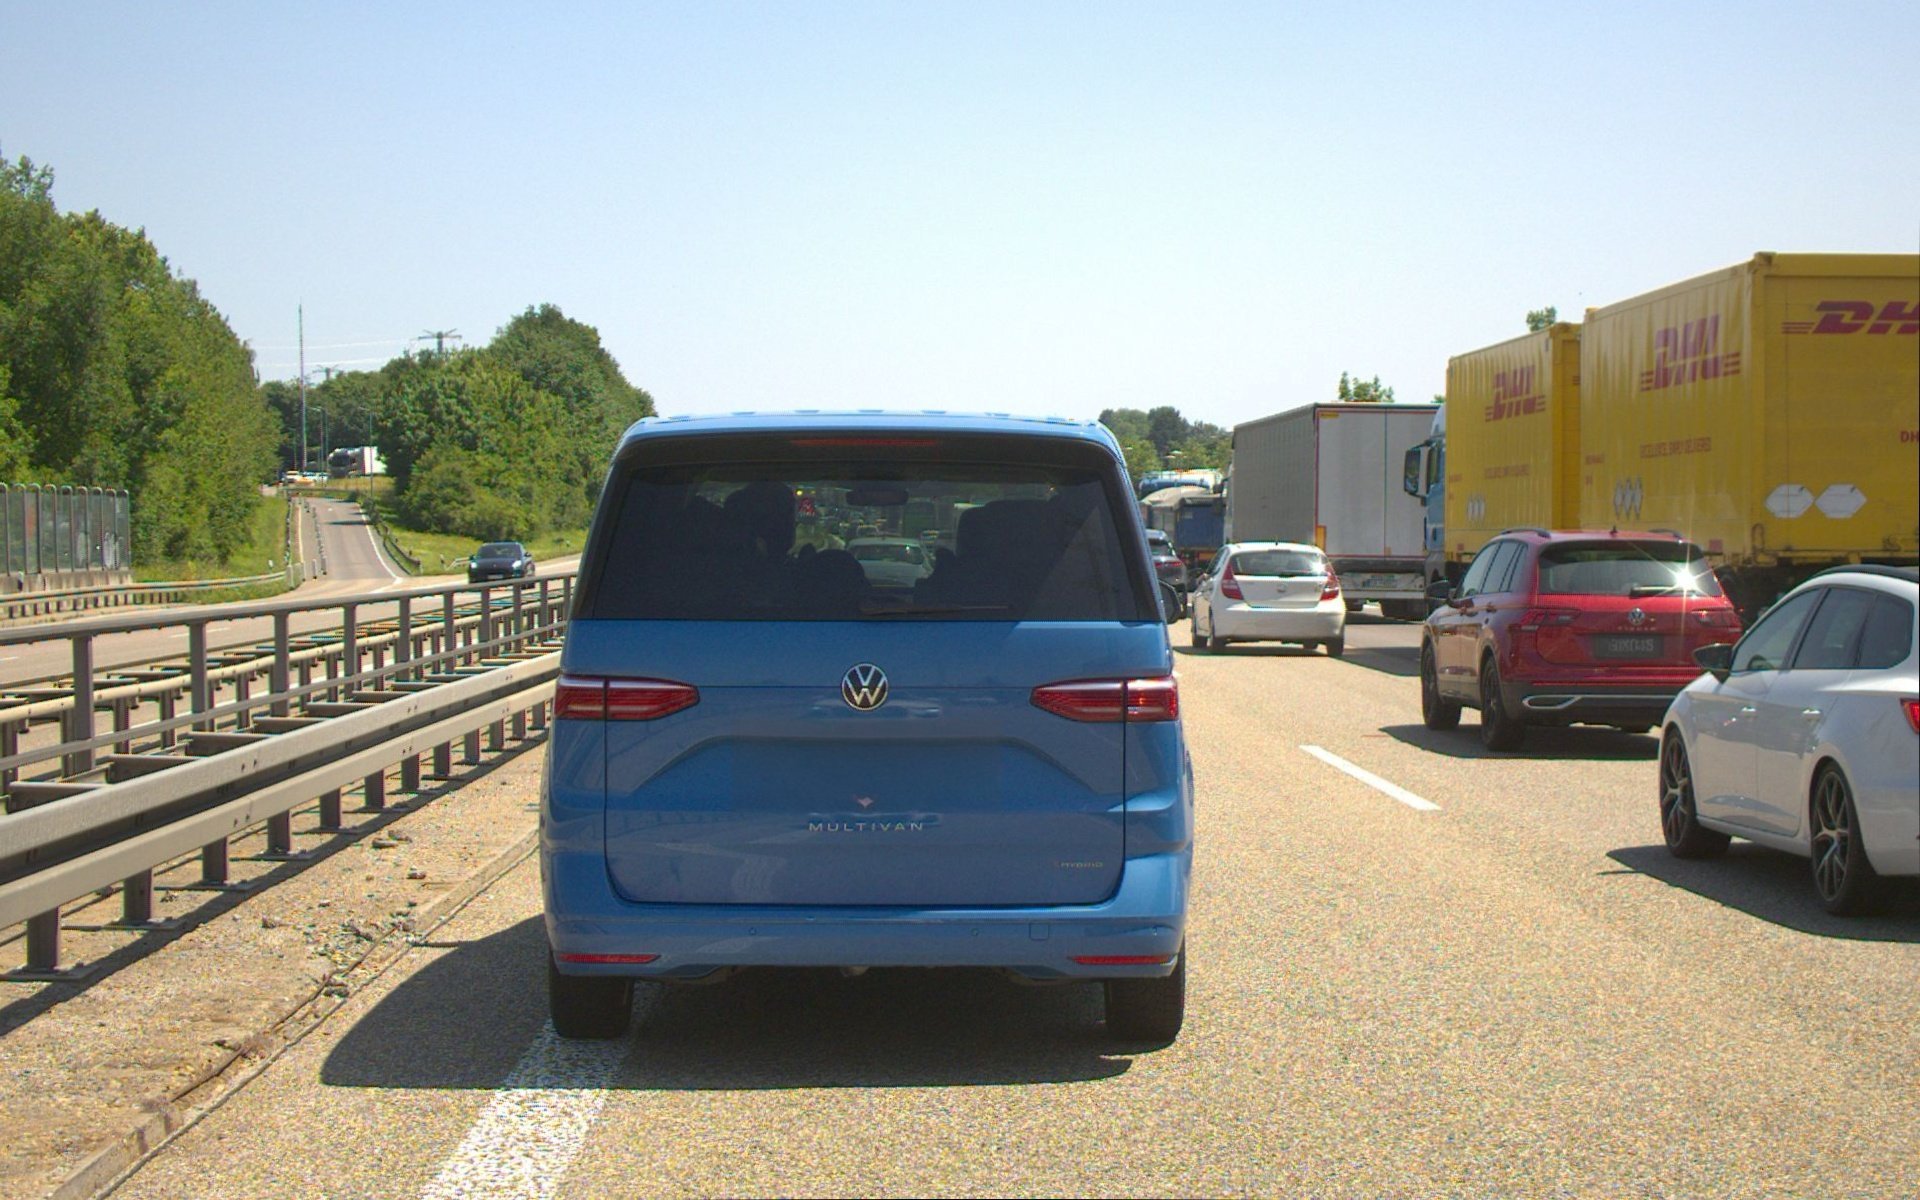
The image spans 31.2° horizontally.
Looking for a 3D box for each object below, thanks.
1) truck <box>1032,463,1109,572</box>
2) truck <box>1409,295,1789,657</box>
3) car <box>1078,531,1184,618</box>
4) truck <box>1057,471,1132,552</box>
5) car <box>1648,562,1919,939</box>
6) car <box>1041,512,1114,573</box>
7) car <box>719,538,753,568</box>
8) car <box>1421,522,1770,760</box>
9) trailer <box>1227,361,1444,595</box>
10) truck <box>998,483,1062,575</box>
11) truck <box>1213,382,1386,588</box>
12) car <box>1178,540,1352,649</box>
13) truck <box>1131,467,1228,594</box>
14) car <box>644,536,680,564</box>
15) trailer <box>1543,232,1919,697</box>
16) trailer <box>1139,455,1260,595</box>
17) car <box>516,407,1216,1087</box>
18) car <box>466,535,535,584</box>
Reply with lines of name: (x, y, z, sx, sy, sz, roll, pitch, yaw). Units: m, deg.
truck: (5.219, -3.862, 164.816, 2.833, 5.023, 11.147, 1, 0, -2)
truck: (7.892, -1.439, 43.992, 2.722, 4.041, 10.337, 1, 0, -1)
car: (3.243, -0.513, 65.745, 1.715, 1.581, 3.821, -1, 1, -1)
truck: (5.635, -3.689, 145.080, 2.355, 3.207, 9.742, 1, 0, -2)
car: (4.328, 0.545, 14.948, 1.781, 1.382, 4.188, 0, 1, -1)
car: (3.071, -1.522, 90.245, 1.715, 1.535, 3.821, -1, 1, -1)
car: (-13.069, -2.743, 200.555, 1.754, 1.715, 4.101, -1, 1, -1)
car: (4.719, 0.243, 26.081, 1.851, 1.603, 4.001, 0, 2, -1)
trailer: (7.148, -2.222, 67.035, 2.755, 4.132, 11.312, 1, 0, -1)
truck: (3.915, -3.954, 195.047, 2.833, 5.023, 11.818, 1, 0, -2)
truck: (7.080, -2.341, 72.598, 2.768, 4.081, 6.984, 1, 0, -1)
car: (4.066, -0.108, 46.420, 1.838, 1.409, 4.001, 0, 1, -2)
truck: (6.606, -2.075, 104.223, 2.367, 3.709, 6.034, 1, 0, -1)
car: (-17.348, -2.908, 200.367, 1.754, 1.542, 4.000, -2, 0, -1)
trailer: (8.042, -1.203, 34.341, 2.701, 4.010, 8.931, 1, 0, -1)
trailer: (6.754, -2.056, 98.303, 2.379, 3.731, 11.189, 1, 0, -1)
car: (-0.277, 0.365, 11.288, 1.882, 1.831, 4.000, 0, 1, -1)
car: (-15.510, -1.387, 116.205, 1.780, 1.563, 4.387, -2, 1, -1)
